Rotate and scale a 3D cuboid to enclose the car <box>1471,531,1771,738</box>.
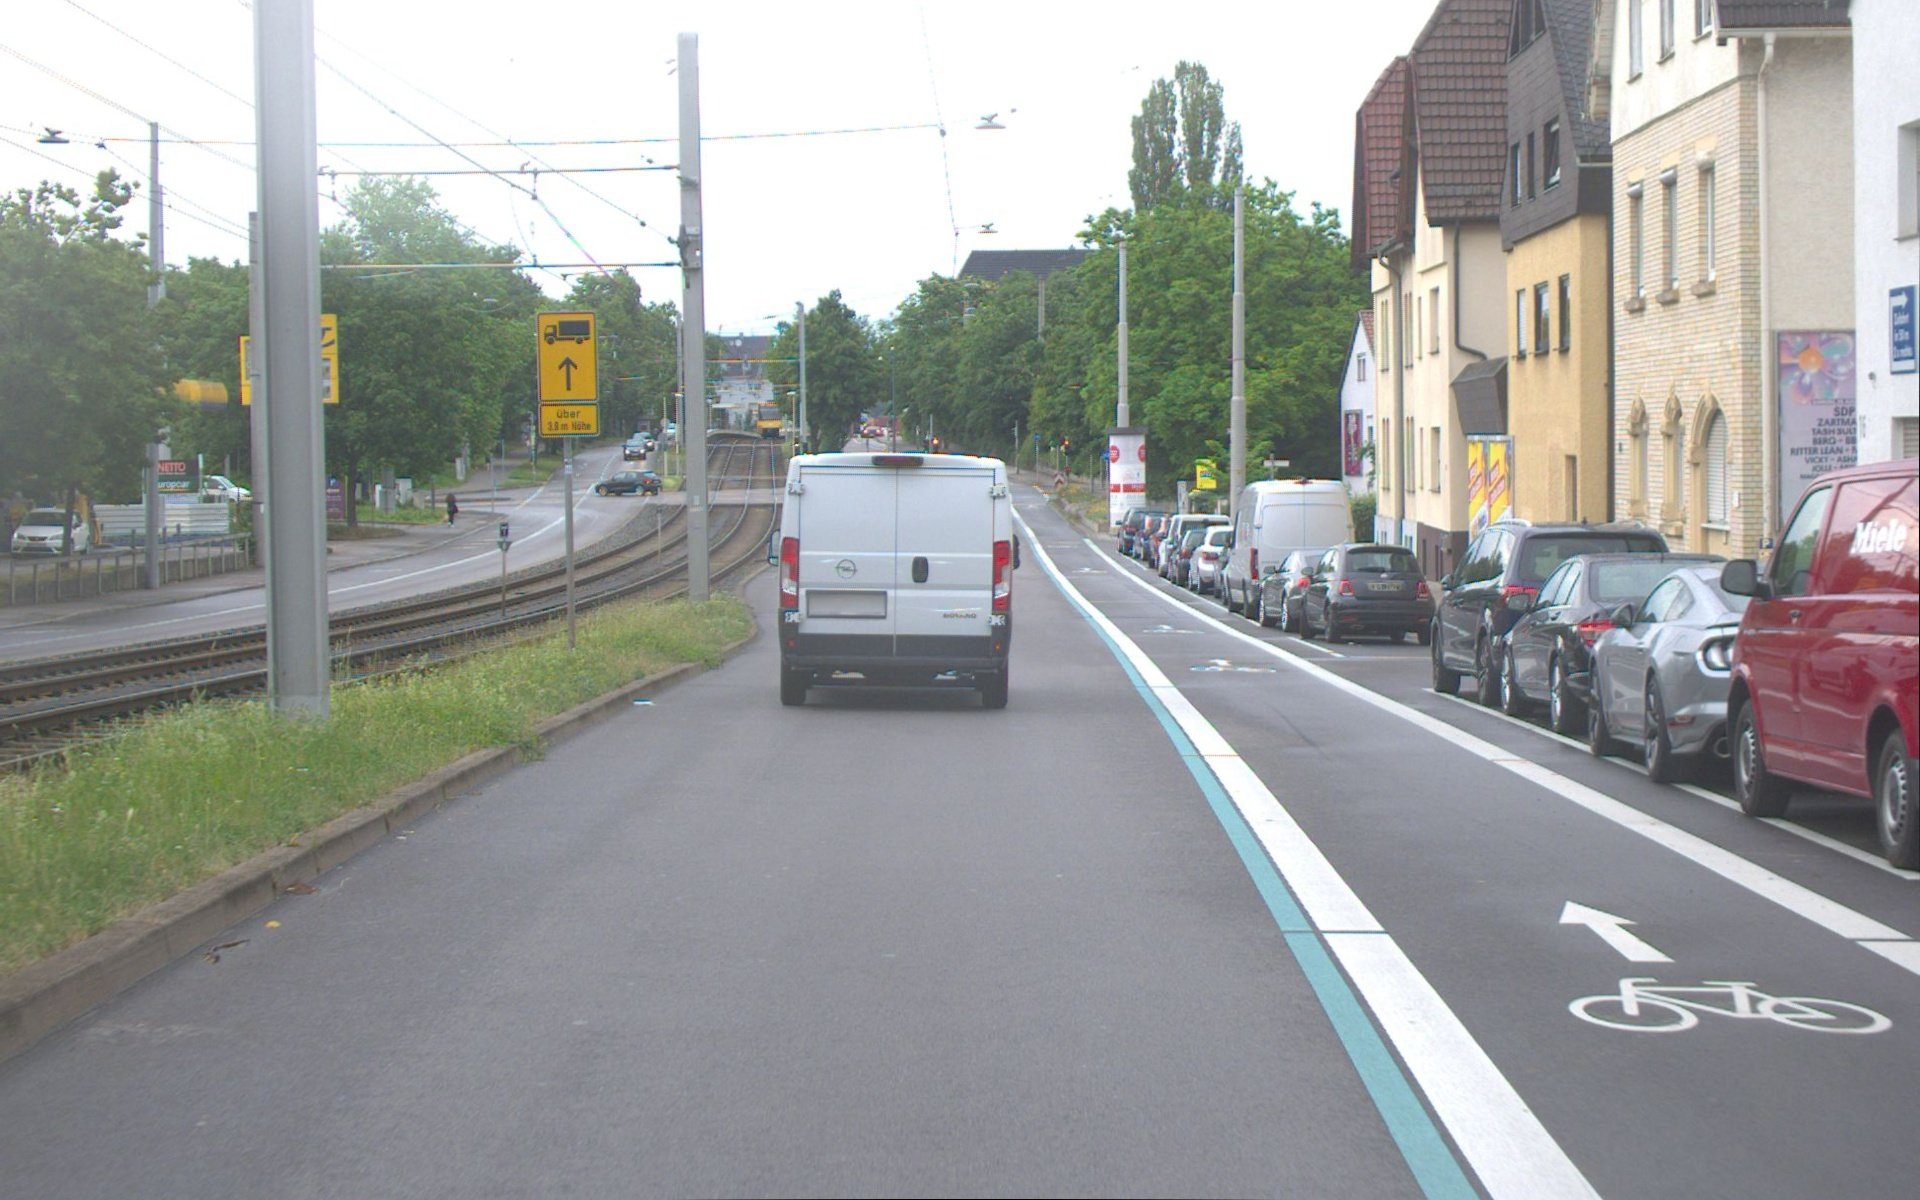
[{"bbox_3d":[5.423,0.222,28.664,1.634,1.533,4.136,2,1,0],"label":"car"}]

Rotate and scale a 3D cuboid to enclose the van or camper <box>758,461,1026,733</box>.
[{"bbox_3d":[-0.708,-0.080,31.312,2.198,2.245,4.685,1,1,-4],"label":"van or camper"}]

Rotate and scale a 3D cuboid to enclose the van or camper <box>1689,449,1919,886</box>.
[{"bbox_3d":[5.136,0.227,17.407,1.851,1.913,4.995,-1,1,1],"label":"van or camper"}]

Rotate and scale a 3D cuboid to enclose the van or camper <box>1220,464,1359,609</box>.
[{"bbox_3d":[6.212,-1.273,65.457,1.993,2.554,6.044,1,2,0],"label":"van or camper"}]

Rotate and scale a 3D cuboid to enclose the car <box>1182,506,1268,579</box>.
[{"bbox_3d":[6.246,-1.385,81.248,1.646,1.609,4.105,1,2,-1],"label":"car"}]

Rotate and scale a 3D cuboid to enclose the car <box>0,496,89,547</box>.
[{"bbox_3d":[-27.242,-2.332,101.837,1.993,1.437,4.001,1,1,-2],"label":"car"}]

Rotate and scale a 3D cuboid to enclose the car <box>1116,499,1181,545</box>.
[{"bbox_3d":[6.314,-2.637,115.772,1.847,1.494,3.955,1,2,-1],"label":"car"}]

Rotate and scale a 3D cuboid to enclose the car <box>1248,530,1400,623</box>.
[{"bbox_3d":[6.106,-0.427,58.199,1.788,1.401,4.554,1,2,-4],"label":"car"}]

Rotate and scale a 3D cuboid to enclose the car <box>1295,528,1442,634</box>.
[{"bbox_3d":[6.183,-0.320,52.335,1.565,1.493,3.513,2,1,-4],"label":"car"}]

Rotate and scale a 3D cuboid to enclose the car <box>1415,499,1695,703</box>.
[{"bbox_3d":[5.687,-0.048,33.414,1.839,1.794,4.687,2,1,0],"label":"car"}]

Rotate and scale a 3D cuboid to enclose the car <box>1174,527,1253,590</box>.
[{"bbox_3d":[6.378,-1.073,86.774,1.646,1.441,3.955,1,2,-1],"label":"car"}]

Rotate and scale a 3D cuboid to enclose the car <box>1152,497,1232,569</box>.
[{"bbox_3d":[6.204,-1.814,92.295,1.747,1.801,3.955,1,3,-1],"label":"car"}]

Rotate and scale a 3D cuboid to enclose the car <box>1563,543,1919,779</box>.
[{"bbox_3d":[5.237,0.327,22.932,1.796,1.371,4.670,0,1,2],"label":"car"}]
